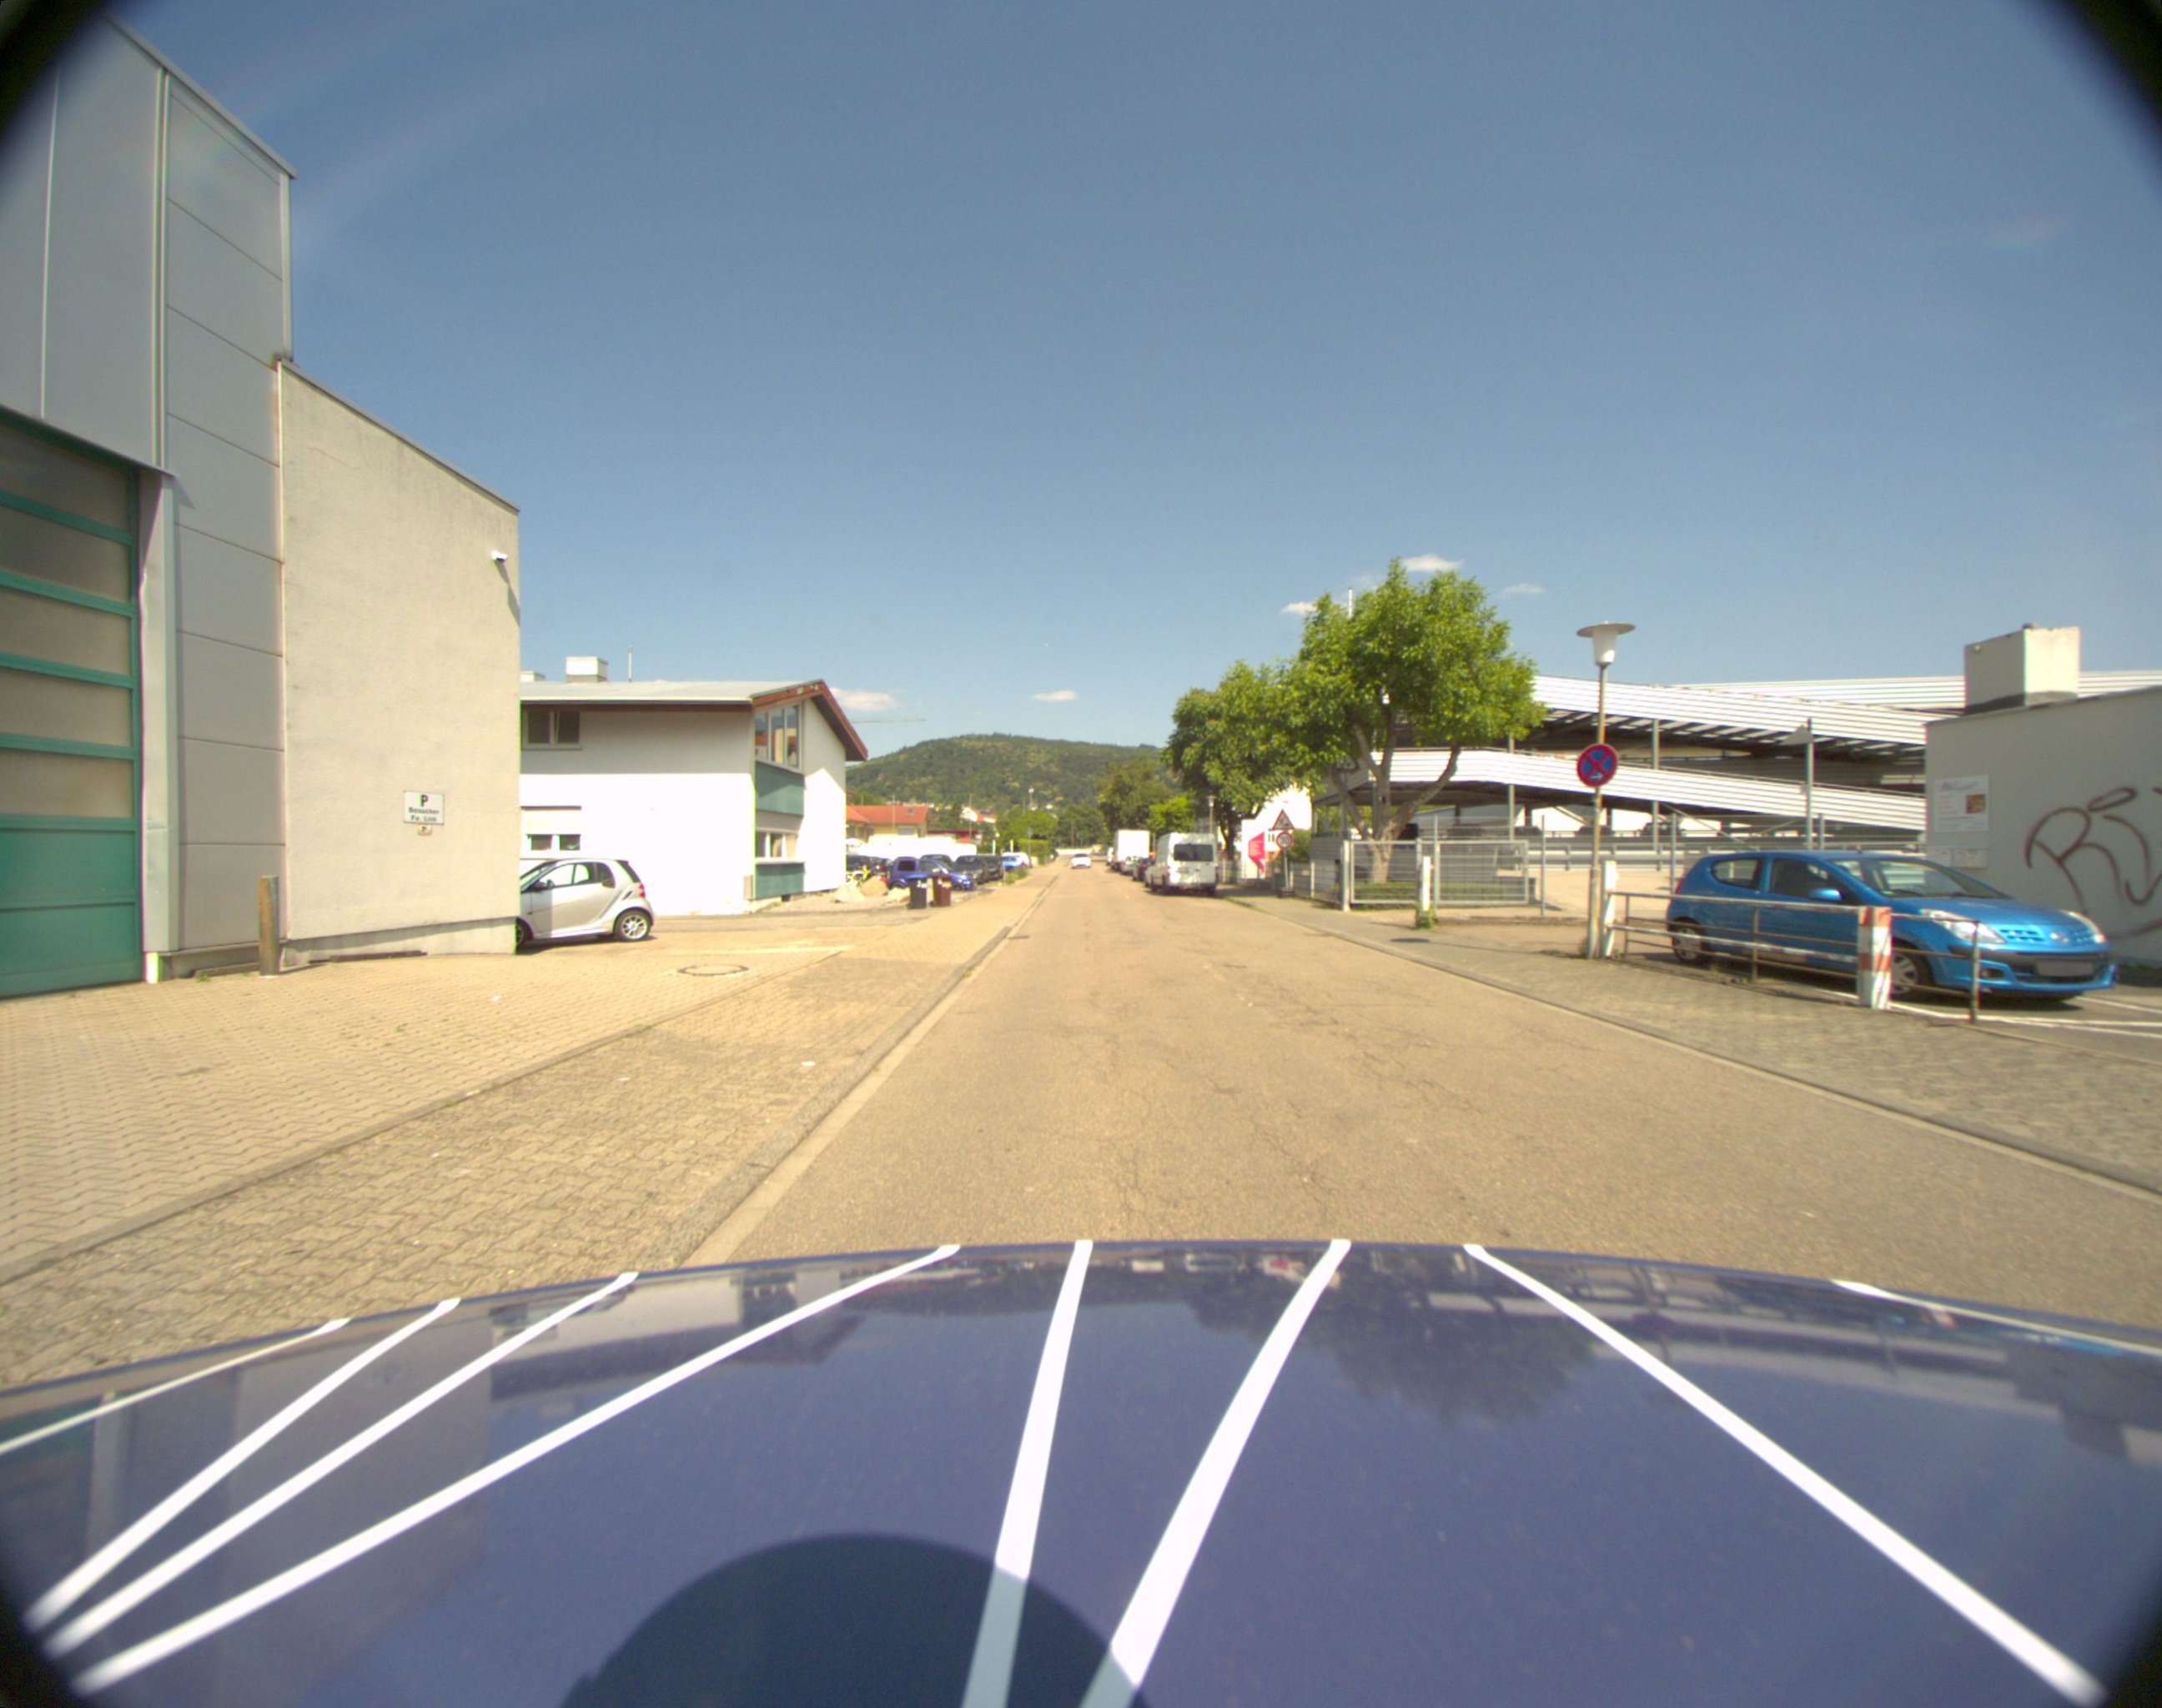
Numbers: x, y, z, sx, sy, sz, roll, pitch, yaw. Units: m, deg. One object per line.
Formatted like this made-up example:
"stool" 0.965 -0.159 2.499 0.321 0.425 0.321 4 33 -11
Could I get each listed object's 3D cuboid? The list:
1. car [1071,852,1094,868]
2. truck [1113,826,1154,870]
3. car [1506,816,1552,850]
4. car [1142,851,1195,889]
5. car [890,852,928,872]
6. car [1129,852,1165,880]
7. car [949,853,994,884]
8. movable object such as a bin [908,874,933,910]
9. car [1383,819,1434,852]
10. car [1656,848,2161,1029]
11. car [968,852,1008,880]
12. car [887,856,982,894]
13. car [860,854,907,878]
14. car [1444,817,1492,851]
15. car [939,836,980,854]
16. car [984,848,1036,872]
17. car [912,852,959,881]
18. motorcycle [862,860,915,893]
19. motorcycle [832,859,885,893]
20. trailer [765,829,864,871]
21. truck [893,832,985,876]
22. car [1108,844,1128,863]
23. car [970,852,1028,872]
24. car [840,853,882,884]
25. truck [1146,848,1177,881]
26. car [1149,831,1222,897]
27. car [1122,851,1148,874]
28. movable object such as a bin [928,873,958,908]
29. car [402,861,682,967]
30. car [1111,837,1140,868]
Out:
"car" 0.121 0.562 75.603 1.896 1.412 4.167 1 2 -4
"truck" 4.157 -0.535 61.483 2.692 3.347 7.127 0 1 -1
"car" 23.661 -1.153 40.071 1.812 1.662 4.006 1 3 34
"car" 4.035 0.708 35.700 1.709 1.615 3.971 1 1 -5
"car" -13.641 0.622 60.464 1.890 1.433 4.187 1 1 3
"car" 3.797 0.652 44.252 1.709 1.454 4.113 1 1 0
"car" -5.758 0.726 40.538 1.816 1.549 4.292 0 1 -1
"movable object such as a bin" -4.368 1.035 20.707 0.514 0.940 0.488 1 1 11
"car" 17.560 -1.018 40.705 1.812 1.662 4.006 1 3 34
"car" 8.592 0.705 8.251 1.819 1.521 3.674 1 0 -1
"car" -5.556 0.694 45.966 1.863 1.558 4.950 0 1 -1
"car" -5.520 0.789 28.902 3.261 1.390 1.673 0 -1 0
"car" -11.966 0.706 46.290 1.645 1.317 4.101 0 1 3
"car" 20.581 -1.086 40.310 1.812 1.662 4.006 1 3 34
"car" -18.915 -1.427 118.289 6.026 2.664 2.254 0 2 -23
"car" -6.040 0.497 65.180 4.212 1.672 1.766 -5 2 -1
"car" -8.206 0.677 43.178 1.763 1.585 3.619 0 0 3
"motorcycle" -7.623 0.880 30.104 1.874 1.272 0.796 1 1 -3
"motorcycle" -8.453 0.827 28.875 1.758 1.272 0.794 1 1 -31
"trailer" -25.601 -0.396 73.165 8.351 3.841 3.068 0 2 5
"truck" -12.644 -0.016 68.061 7.537 3.403 2.526 -3 1 0
"car" 4.057 -0.120 85.038 1.976 2.002 5.055 1 1 0
"car" -6.366 0.599 59.340 4.364 1.433 1.892 -2 0 -1
"car" -11.633 0.724 40.410 1.766 1.487 4.145 1 1 -11
"truck" 4.123 0.528 39.306 1.141 1.613 3.140 2 1 -2
"car" 4.060 0.343 30.414 2.010 2.352 5.228 1 1 -2
"car" 3.878 0.576 55.031 1.745 1.512 4.310 1 1 3
"movable object such as a bin" -3.853 1.002 21.211 0.567 0.940 0.558 1 1 34
"car" -9.340 0.920 13.377 1.774 1.531 3.710 1 1 42
"car" 3.989 -0.214 69.081 2.174 2.581 6.918 1 1 0
